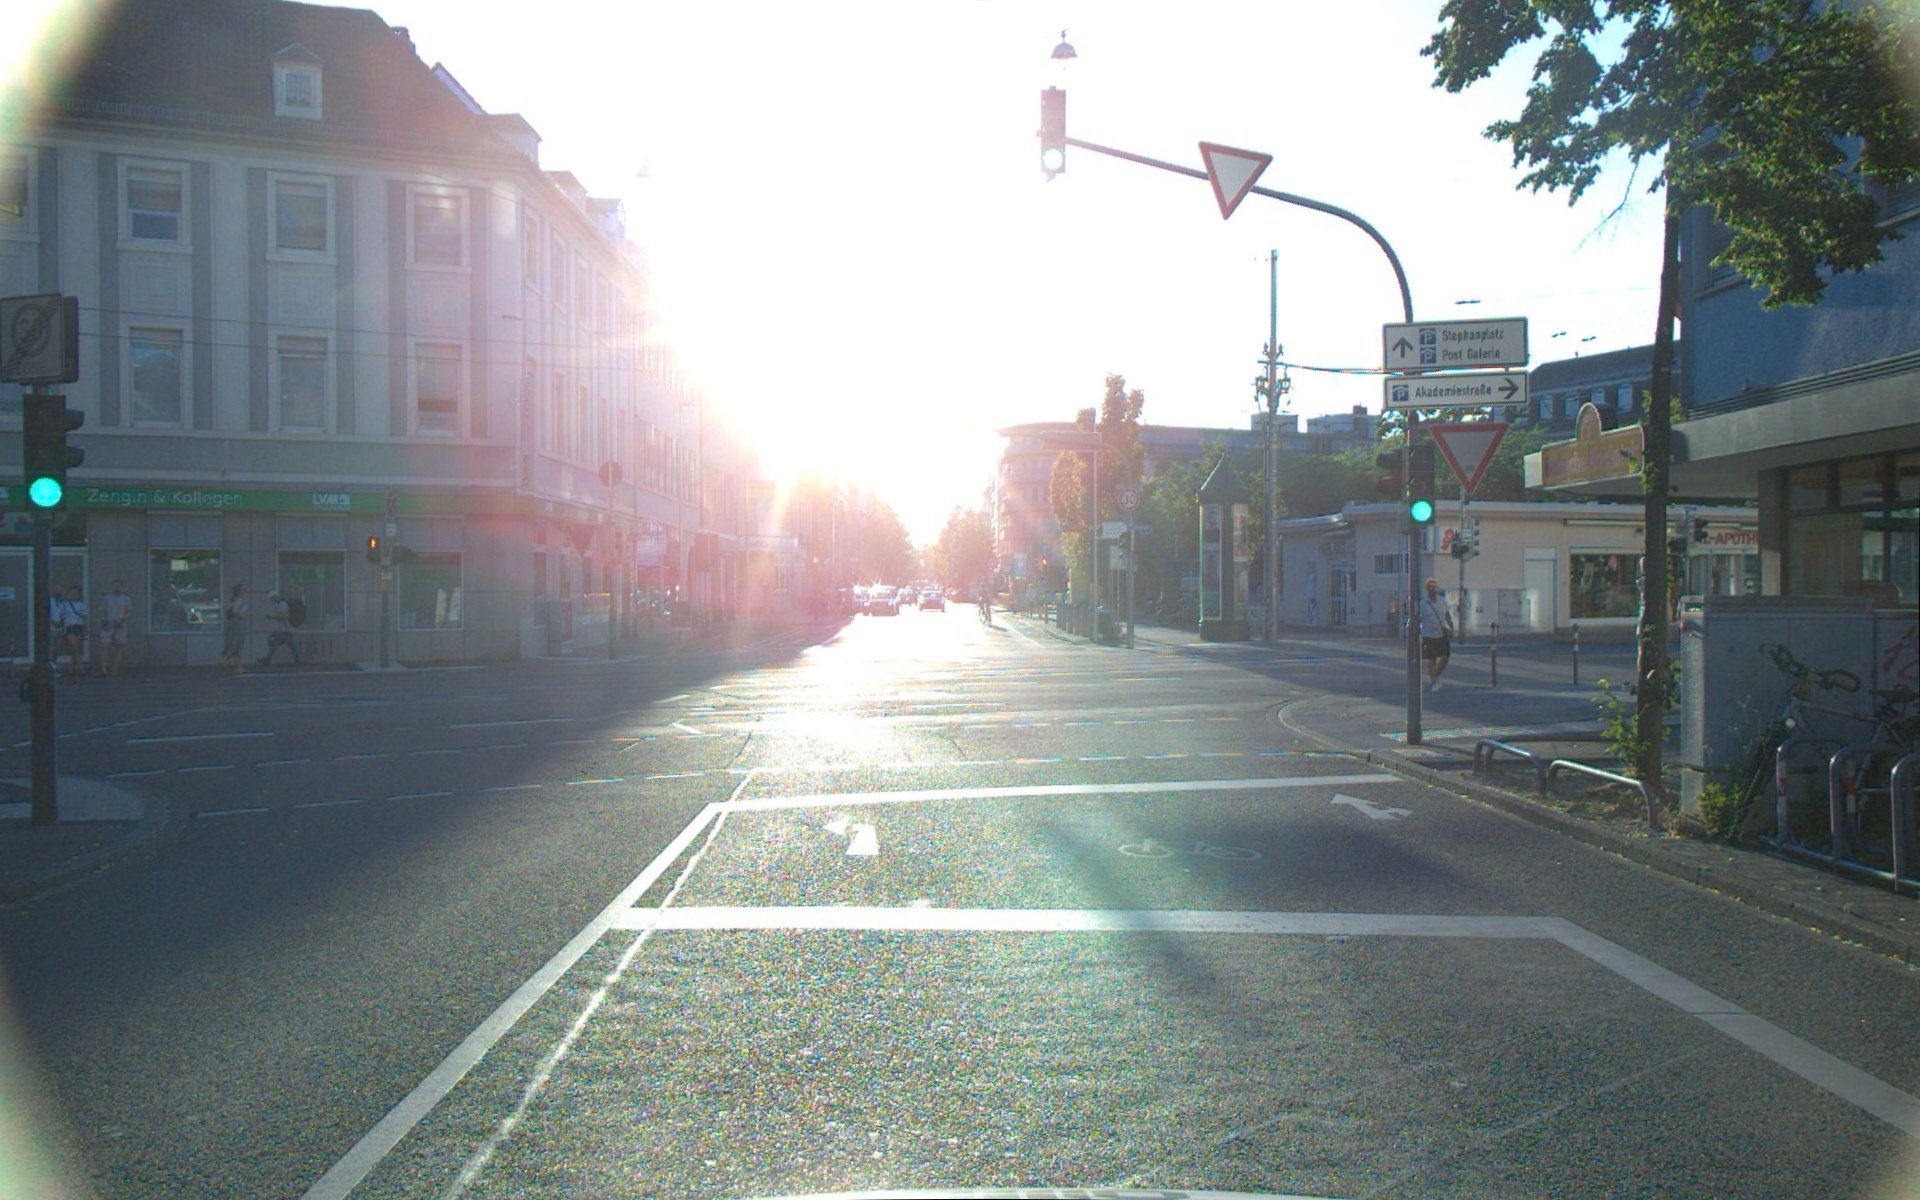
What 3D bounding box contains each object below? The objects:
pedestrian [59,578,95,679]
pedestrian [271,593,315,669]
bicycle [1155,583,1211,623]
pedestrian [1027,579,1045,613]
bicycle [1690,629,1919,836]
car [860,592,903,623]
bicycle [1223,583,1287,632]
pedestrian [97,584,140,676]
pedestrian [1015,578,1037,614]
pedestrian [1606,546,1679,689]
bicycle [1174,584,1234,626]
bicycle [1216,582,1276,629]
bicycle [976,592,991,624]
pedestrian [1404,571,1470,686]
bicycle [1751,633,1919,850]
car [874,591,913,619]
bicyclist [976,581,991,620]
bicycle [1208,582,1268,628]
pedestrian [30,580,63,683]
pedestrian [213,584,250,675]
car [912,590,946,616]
[{"bbox_3d":[-17.344,0.555,32.488,0.524,1.962,0.632,-1,0,-36],"label":"pedestrian"},{"bbox_3d":[-14.137,0.651,35.054,0.855,1.575,0.694,-1,0,-23],"label":"pedestrian"},{"bbox_3d":[8.865,0.119,65.865,2.176,1.549,0.681,-1,0,4],"label":"bicycle"},{"bbox_3d":[4.118,-0.225,89.565,0.787,1.817,0.995,-2,-1,13],"label":"pedestrian"},{"bbox_3d":[5.541,0.800,10.196,1.873,1.224,0.470,0,0,0],"label":"bicycle"},{"bbox_3d":[-4.496,0.382,95.800,2.257,1.707,5.531,-1,0,-1],"label":"car"},{"bbox_3d":[9.488,0.236,53.219,1.945,1.549,0.479,-1,0,-1],"label":"bicycle"},{"bbox_3d":[-16.522,0.588,32.494,0.688,1.776,0.635,-1,0,-23],"label":"pedestrian"},{"bbox_3d":[3.643,-0.231,91.669,0.971,1.991,0.806,-1,0,26],"label":"pedestrian"},{"bbox_3d":[9.442,0.237,22.866,0.788,1.919,0.993,-2,-1,27],"label":"pedestrian"},{"bbox_3d":[9.248,0.181,62.728,2.177,1.549,0.681,-1,0,0],"label":"bicycle"},{"bbox_3d":[9.621,0.191,55.635,1.945,1.549,0.479,-1,0,0],"label":"bicycle"},{"bbox_3d":[1.074,0.352,75.261,0.665,1.426,2.230,-1,0,1],"label":"bicycle"},{"bbox_3d":[7.559,0.446,26.186,0.788,1.756,0.993,-2,-1,27],"label":"pedestrian"},{"bbox_3d":[5.695,0.812,9.706,1.873,1.224,0.470,0,0,0],"label":"bicycle"},{"bbox_3d":[-4.151,0.288,103.399,2.257,1.707,5.531,-1,0,-1],"label":"car"},{"bbox_3d":[1.060,0.011,75.220,0.665,1.737,0.669,-1,0,0],"label":"bicyclist"},{"bbox_3d":[9.518,0.171,56.670,1.945,1.549,0.479,-1,0,0],"label":"bicycle"},{"bbox_3d":[-17.735,0.604,32.101,0.491,1.962,0.568,-1,0,-36],"label":"pedestrian"},{"bbox_3d":[-14.702,0.581,33.386,0.637,1.809,0.667,-1,0,-23],"label":"pedestrian"},{"bbox_3d":[-2.136,0.184,114.999,2.257,1.707,5.531,-1,0,-1],"label":"car"}]
